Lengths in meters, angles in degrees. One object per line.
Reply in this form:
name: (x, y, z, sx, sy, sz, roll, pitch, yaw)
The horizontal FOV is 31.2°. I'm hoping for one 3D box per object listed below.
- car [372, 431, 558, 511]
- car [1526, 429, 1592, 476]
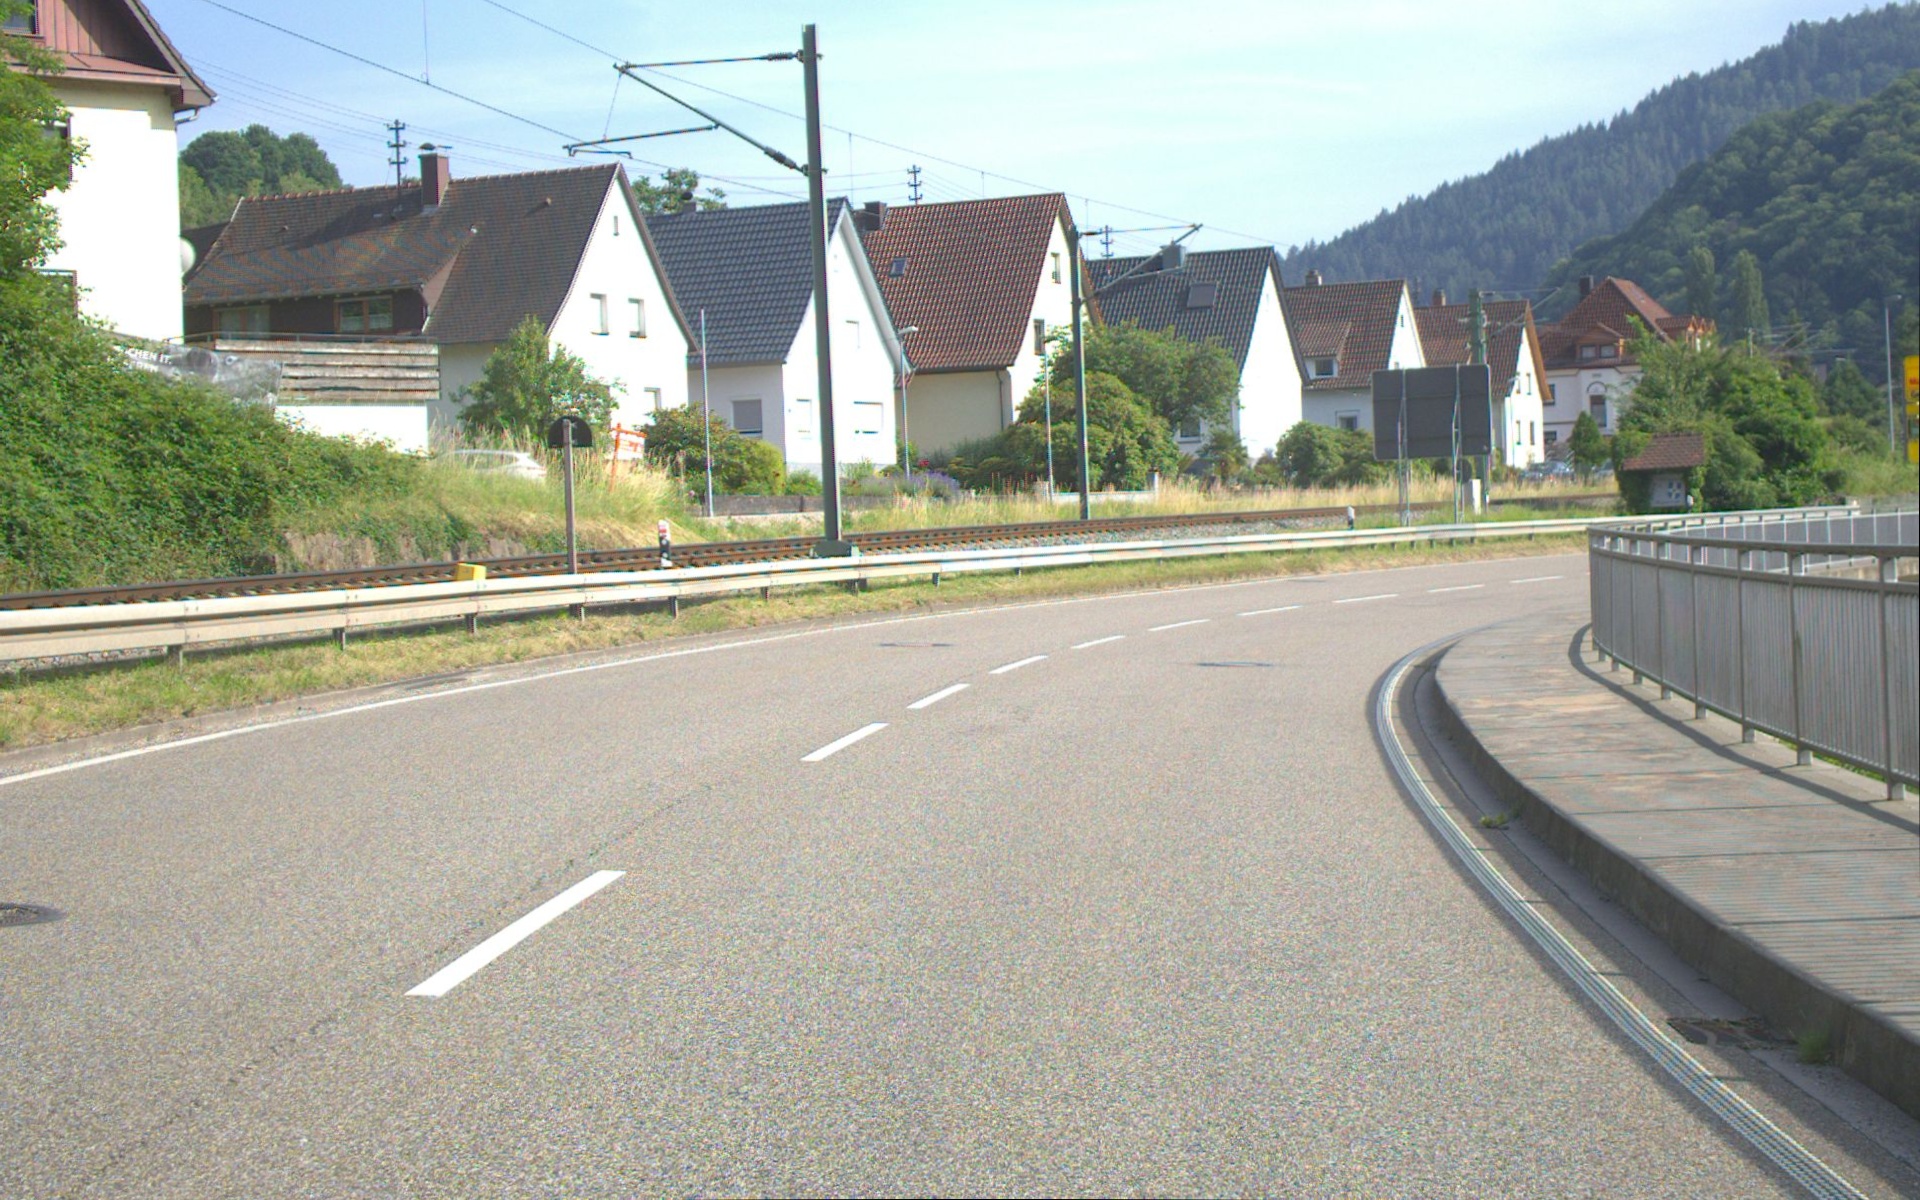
car: (-11.302, -2.965, 78.462, 4.012, 1.668, 1.650, -2, 5, -15)
car: (26.762, -6.577, 153.451, 1.996, 1.875, 3.996, 6, 4, 21)
